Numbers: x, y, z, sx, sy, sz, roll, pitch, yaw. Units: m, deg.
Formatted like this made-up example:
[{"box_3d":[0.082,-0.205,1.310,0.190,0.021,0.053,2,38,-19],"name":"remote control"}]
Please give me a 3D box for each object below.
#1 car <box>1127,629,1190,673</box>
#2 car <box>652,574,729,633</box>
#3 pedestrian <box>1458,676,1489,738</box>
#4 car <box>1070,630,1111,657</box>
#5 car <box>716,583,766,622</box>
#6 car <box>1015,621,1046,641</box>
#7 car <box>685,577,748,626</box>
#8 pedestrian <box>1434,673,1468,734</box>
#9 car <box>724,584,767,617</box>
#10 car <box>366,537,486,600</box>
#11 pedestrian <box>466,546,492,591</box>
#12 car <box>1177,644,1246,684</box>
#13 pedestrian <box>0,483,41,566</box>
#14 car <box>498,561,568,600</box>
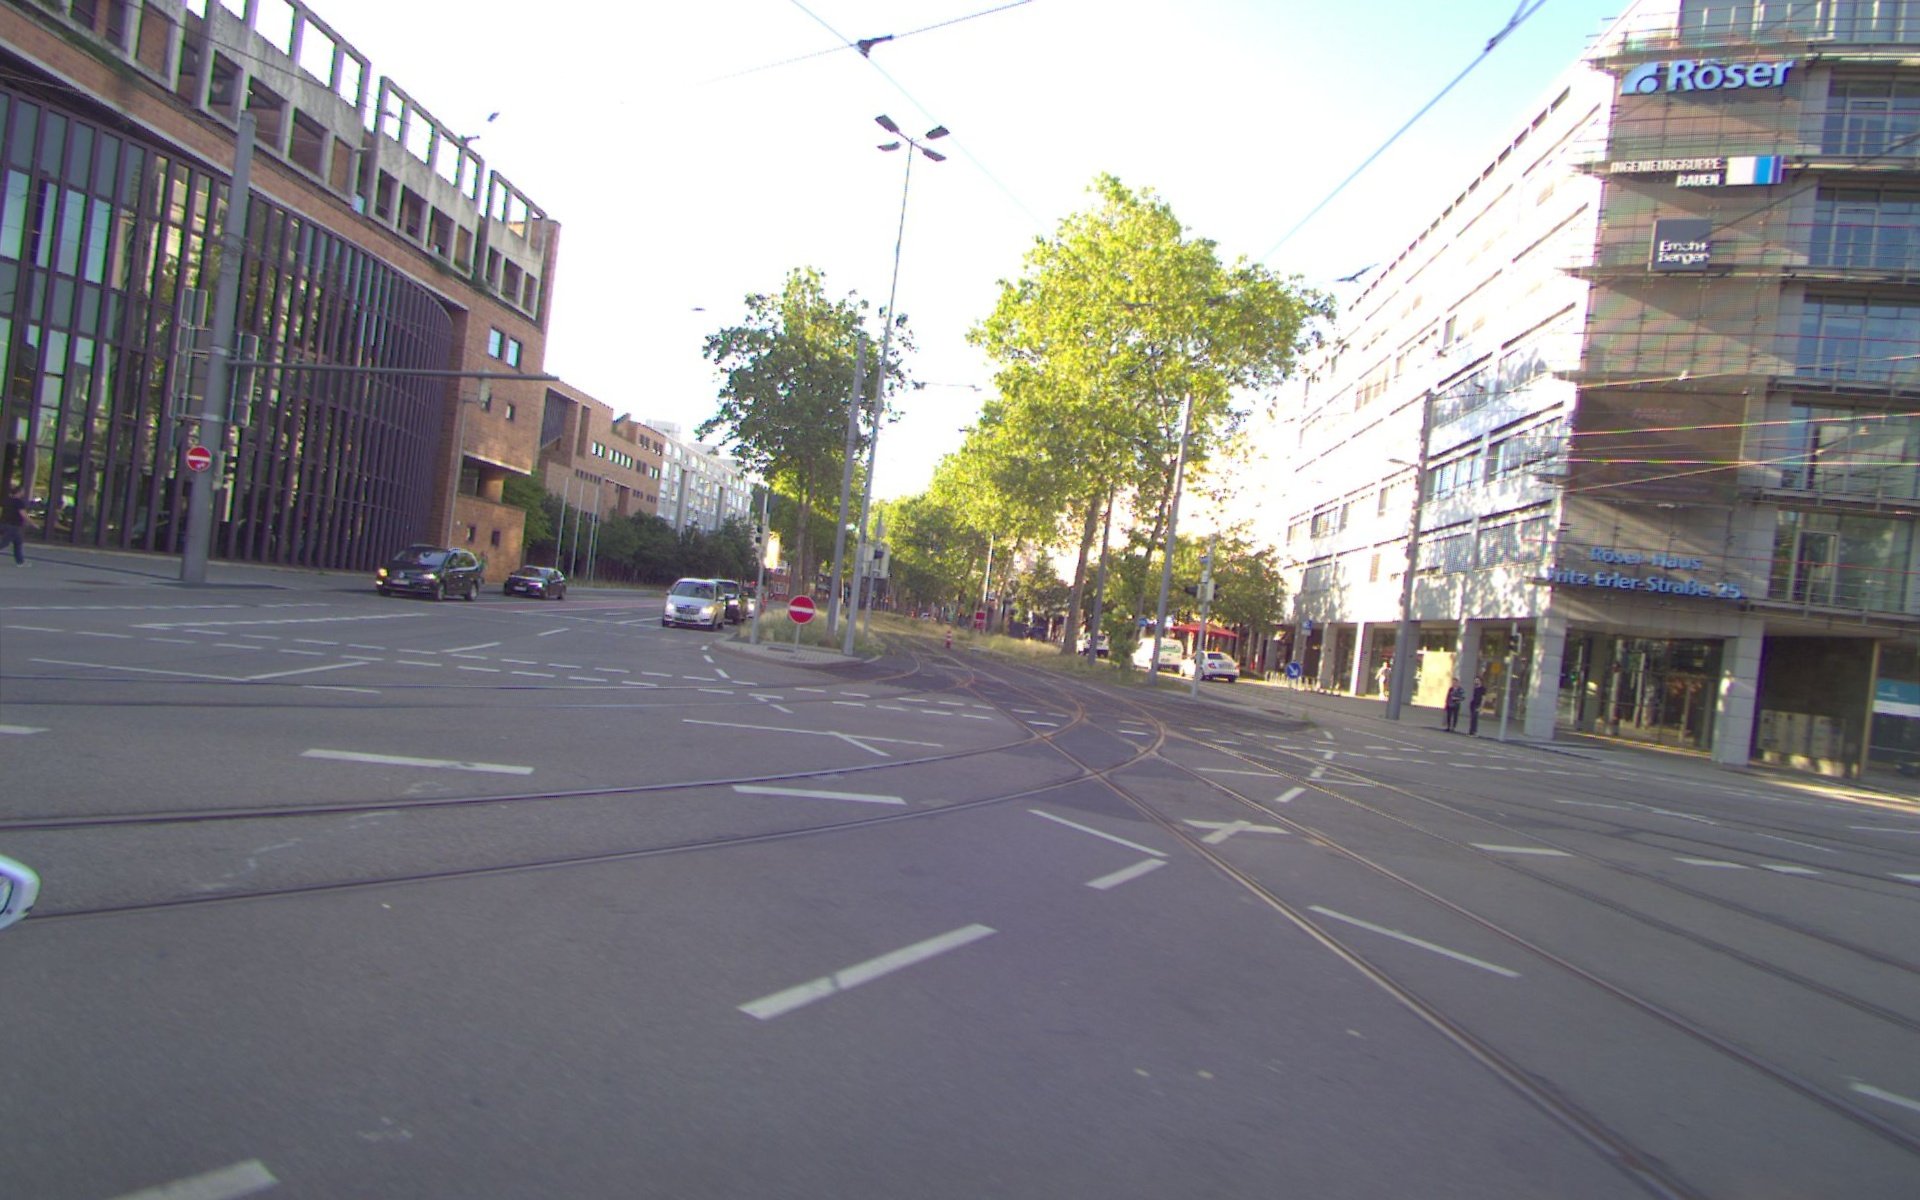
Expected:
[{"box_3d":[11.195,2.848,57.062,1.966,2.038,4.379,7,-1,-9],"name":"car"},{"box_3d":[-8.813,0.129,33.254,1.706,1.616,4.321,7,-1,-7],"name":"car"},{"box_3d":[15.805,3.285,30.948,0.369,1.846,0.544,7,0,-23],"name":"pedestrian"},{"box_3d":[9.359,3.070,72.327,1.827,1.570,4.322,7,-1,-6],"name":"car"},{"box_3d":[-10.598,0.121,48.878,1.827,1.570,4.321,7,-1,-7],"name":"car"},{"box_3d":[6.539,2.869,93.765,2.229,1.570,4.323,7,-1,-4],"name":"car"},{"box_3d":[-9.772,0.065,40.663,1.827,1.670,4.321,7,-1,-7],"name":"car"},{"box_3d":[15.460,3.257,31.685,0.537,1.846,0.586,7,0,-23],"name":"pedestrian"},{"box_3d":[-11.898,0.042,56.028,1.827,1.570,4.321,7,-1,-7],"name":"car"},{"box_3d":[-17.148,-0.932,32.569,1.807,1.674,4.496,6,-1,-7],"name":"car"},{"box_3d":[-23.099,-1.487,48.309,0.887,2.038,0.754,7,0,-22],"name":"pedestrian"},{"box_3d":[12.502,3.163,50.227,1.827,1.570,4.322,7,-1,-6],"name":"car"},{"box_3d":[-20.964,-1.674,22.150,0.653,1.737,0.822,7,0,33],"name":"pedestrian"},{"box_3d":[-18.976,-0.833,44.889,1.890,1.392,3.994,7,-1,-10],"name":"car"}]
